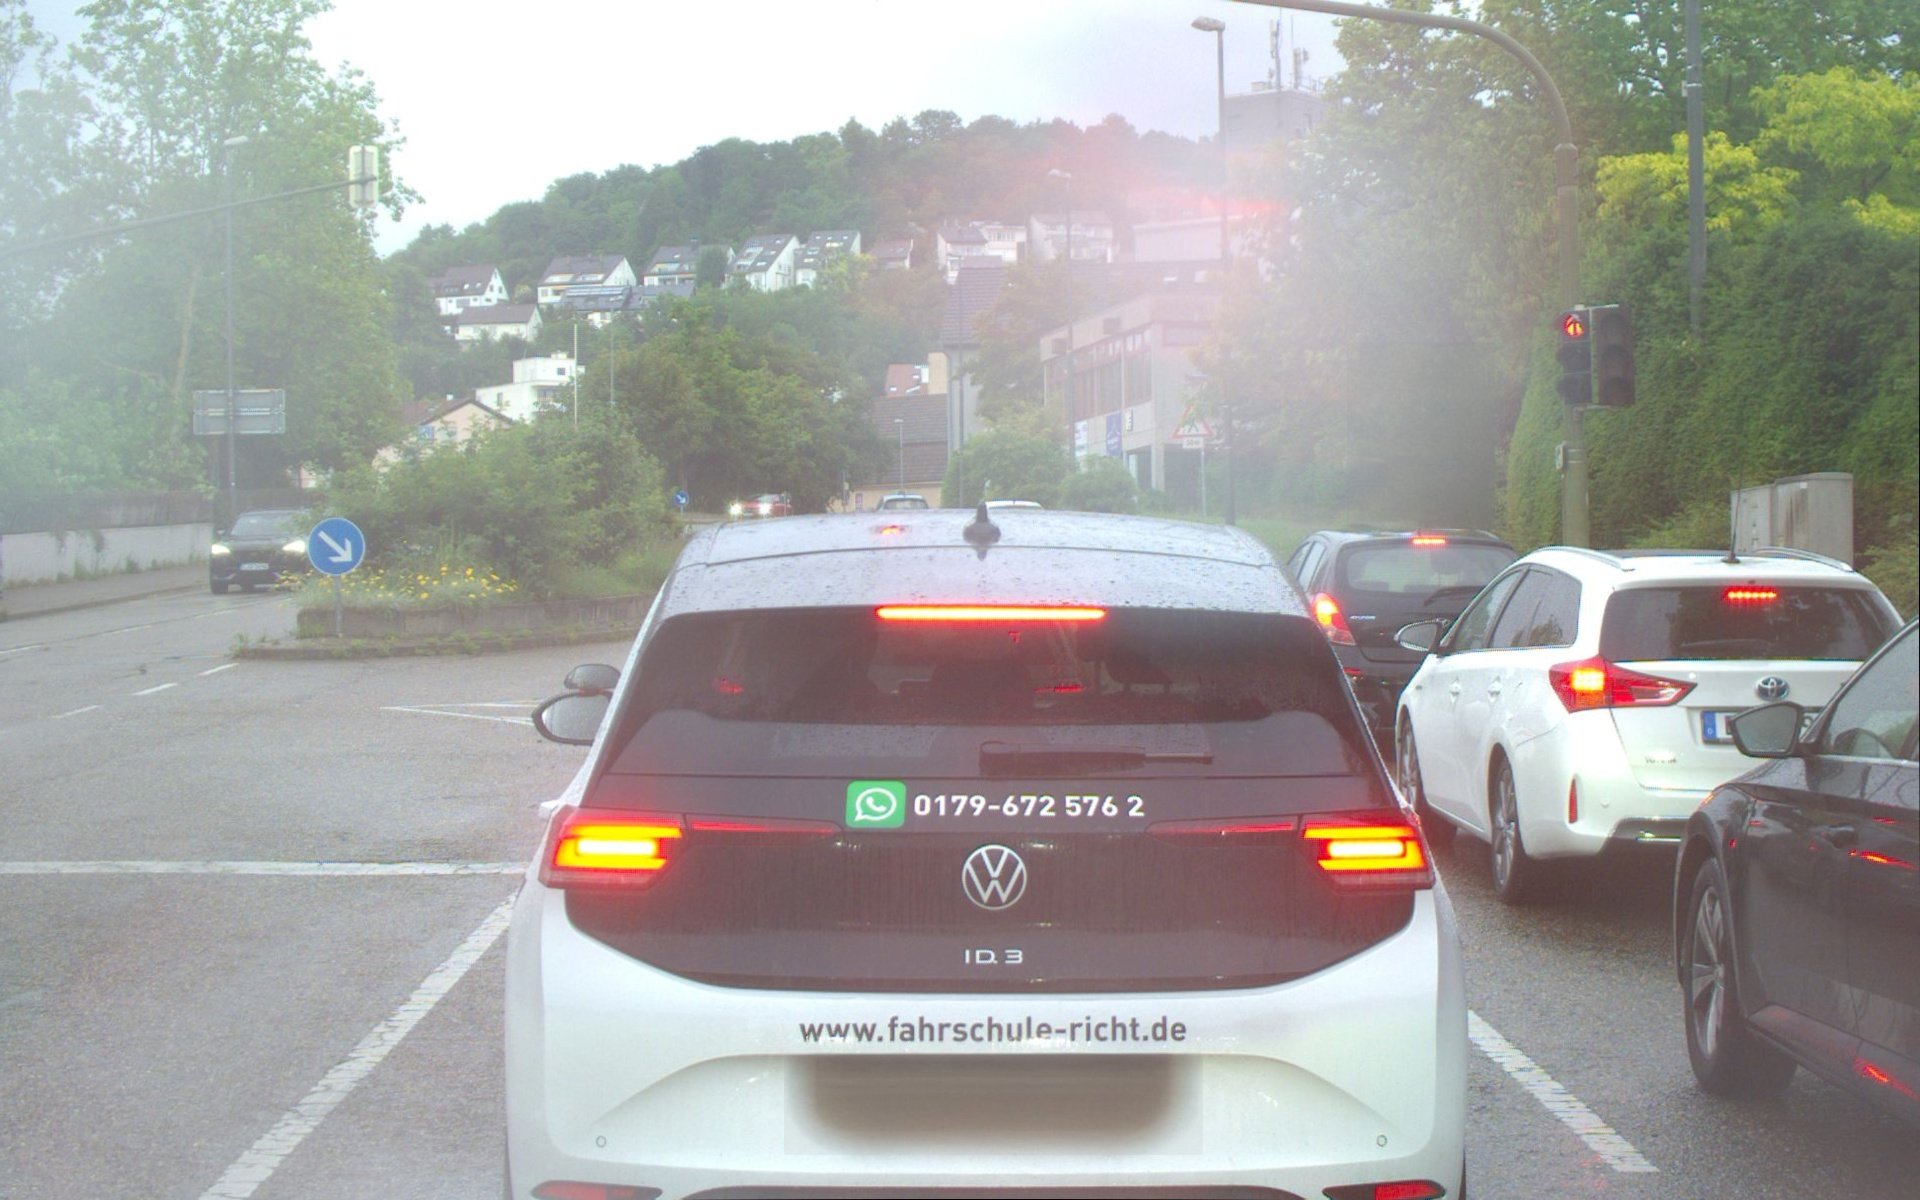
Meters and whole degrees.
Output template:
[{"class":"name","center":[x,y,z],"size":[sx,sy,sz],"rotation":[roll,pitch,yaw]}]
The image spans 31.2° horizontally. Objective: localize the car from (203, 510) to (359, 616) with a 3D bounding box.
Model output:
[{"class":"car","center":[-12.422,-0.696,63.119],"size":[1.993,1.798,4.000],"rotation":[-3,1,0]}]

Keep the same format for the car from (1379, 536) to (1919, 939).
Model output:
[{"class":"car","center":[3.054,0.486,14.984],"size":[1.837,1.461,4.117],"rotation":[1,1,-1]}]

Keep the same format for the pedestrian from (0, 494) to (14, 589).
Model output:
[{"class":"pedestrian","center":[-16.117,-0.949,56.667],"size":[0.760,1.562,0.825],"rotation":[-2,1,-1]}]

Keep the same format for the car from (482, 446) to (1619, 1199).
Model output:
[{"class":"car","center":[0.097,0.524,7.943],"size":[1.837,1.623,4.616],"rotation":[1,1,-1]}]

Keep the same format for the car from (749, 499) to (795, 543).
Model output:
[{"class":"car","center":[-8.999,-3.768,164.609],"size":[1.993,2.007,4.000],"rotation":[1,0,0]}]

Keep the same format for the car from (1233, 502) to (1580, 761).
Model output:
[{"class":"car","center":[2.930,0.170,23.349],"size":[1.775,1.576,4.000],"rotation":[1,1,0]}]

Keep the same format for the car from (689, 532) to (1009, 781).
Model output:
[{"class":"car","center":[-0.688,0.295,21.955],"size":[1.837,1.395,3.831],"rotation":[1,1,-1]}]

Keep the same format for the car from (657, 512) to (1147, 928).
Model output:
[{"class":"car","center":[-0.265,0.407,15.199],"size":[1.837,1.549,4.175],"rotation":[1,1,-1]}]

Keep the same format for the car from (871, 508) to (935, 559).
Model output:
[{"class":"car","center":[-1.693,-1.964,101.031],"size":[1.761,1.413,3.749],"rotation":[-1,2,-3]}]

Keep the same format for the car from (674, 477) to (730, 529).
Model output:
[{"class":"car","center":[-10.504,-3.928,140.082],"size":[1.993,2.007,4.000],"rotation":[1,0,0]}]

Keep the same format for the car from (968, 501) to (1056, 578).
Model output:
[{"class":"car","center":[1.017,-1.207,69.421],"size":[1.581,1.462,4.000],"rotation":[-1,1,-1]}]

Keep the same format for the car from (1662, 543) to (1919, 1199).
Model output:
[{"class":"car","center":[2.875,0.644,7.461],"size":[1.838,1.461,4.350],"rotation":[1,1,1]}]
